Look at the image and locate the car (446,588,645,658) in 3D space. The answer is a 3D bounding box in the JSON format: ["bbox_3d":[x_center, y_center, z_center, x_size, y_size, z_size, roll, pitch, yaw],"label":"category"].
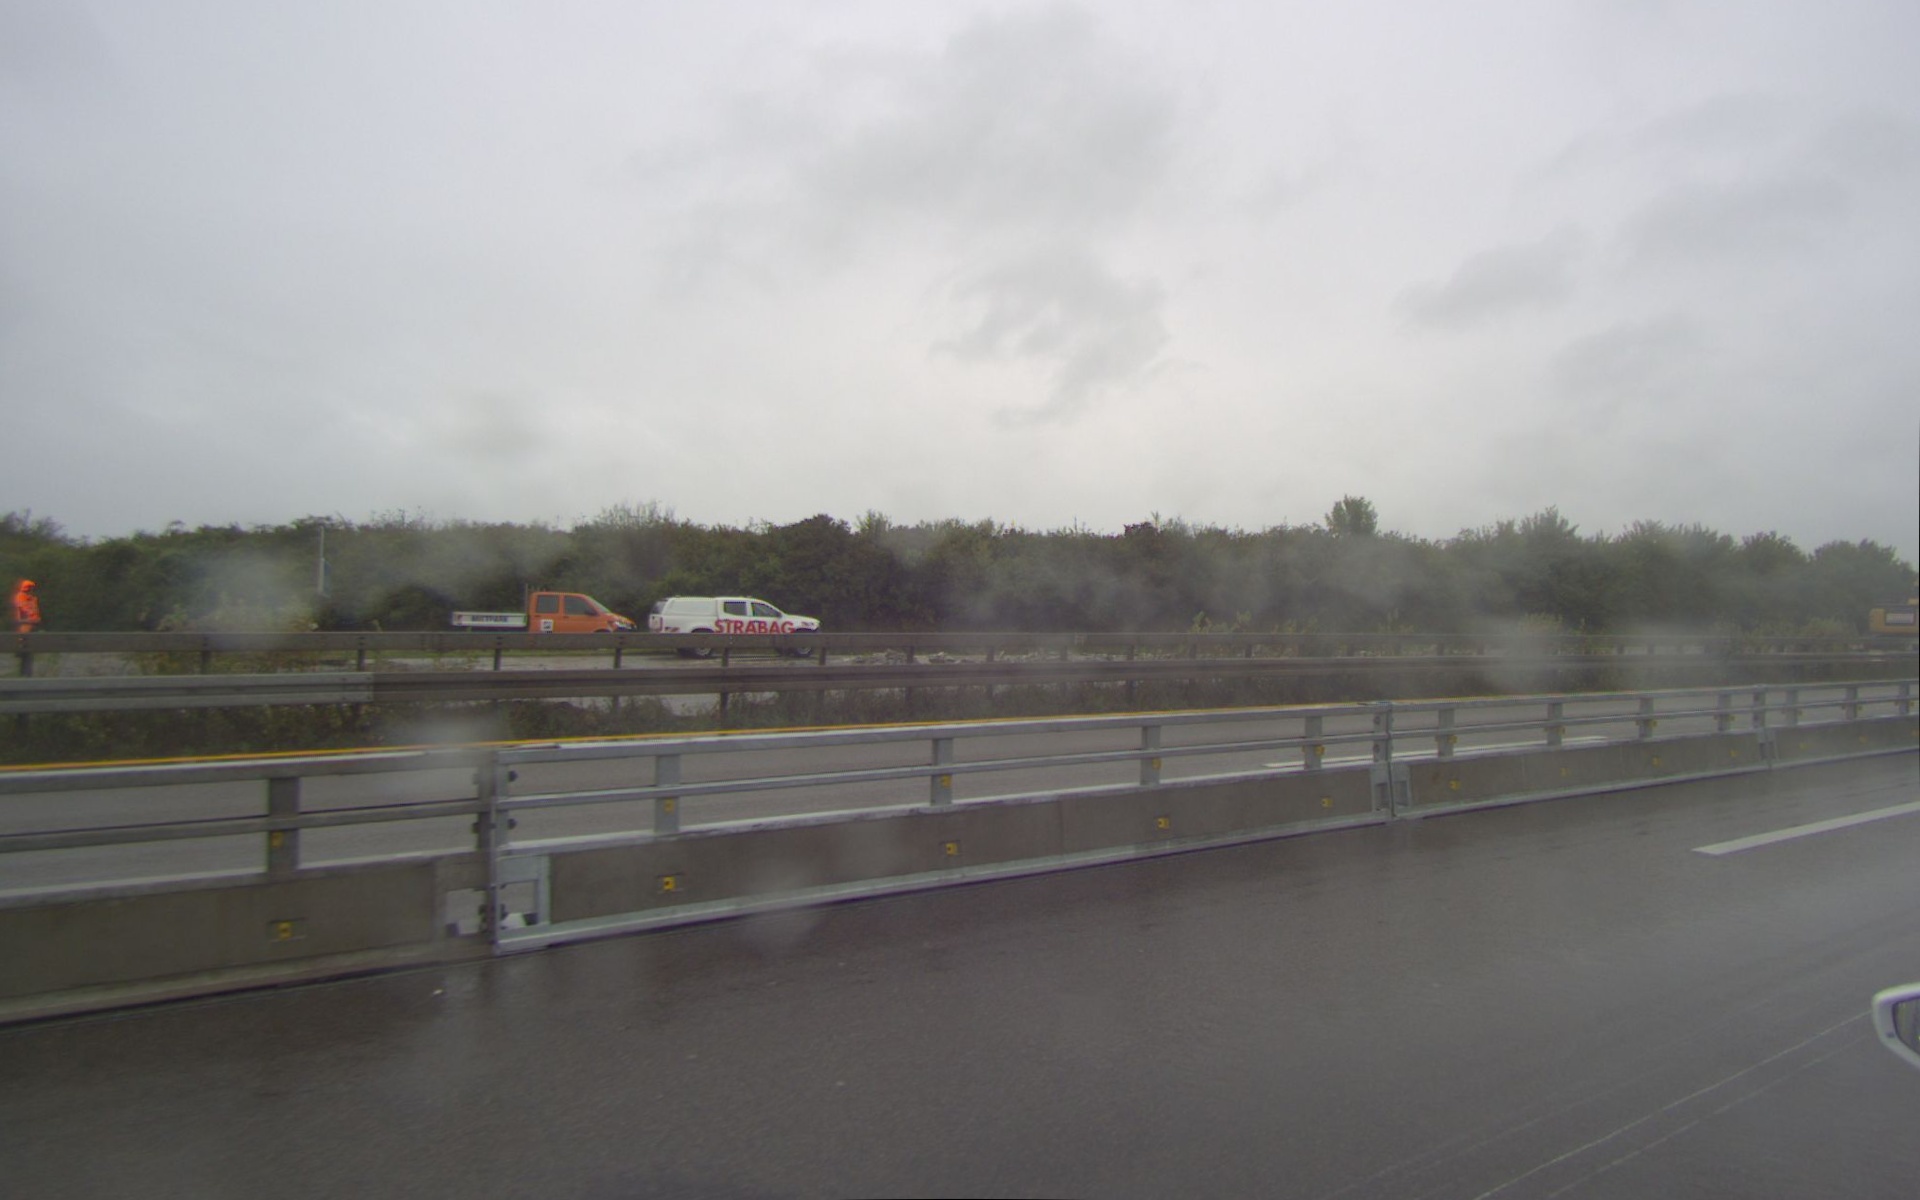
[{"bbox_3d":[-13.213,0.749,32.396,5.477,2.103,2.367,1,-1,-9],"label":"car"}]

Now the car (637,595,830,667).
[{"bbox_3d":[-6.800,0.921,30.338,5.302,1.992,2.084,1,-1,-30],"label":"car"}]

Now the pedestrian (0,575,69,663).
[{"bbox_3d":[-22.246,0.444,24.078,1.114,2.040,1.098,1,1,-32],"label":"pedestrian"}]

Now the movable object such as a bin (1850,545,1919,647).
[{"bbox_3d":[60.738,-0.127,62.538,10.902,5.994,4.156,2,0,-27],"label":"movable object such as a bin"}]
